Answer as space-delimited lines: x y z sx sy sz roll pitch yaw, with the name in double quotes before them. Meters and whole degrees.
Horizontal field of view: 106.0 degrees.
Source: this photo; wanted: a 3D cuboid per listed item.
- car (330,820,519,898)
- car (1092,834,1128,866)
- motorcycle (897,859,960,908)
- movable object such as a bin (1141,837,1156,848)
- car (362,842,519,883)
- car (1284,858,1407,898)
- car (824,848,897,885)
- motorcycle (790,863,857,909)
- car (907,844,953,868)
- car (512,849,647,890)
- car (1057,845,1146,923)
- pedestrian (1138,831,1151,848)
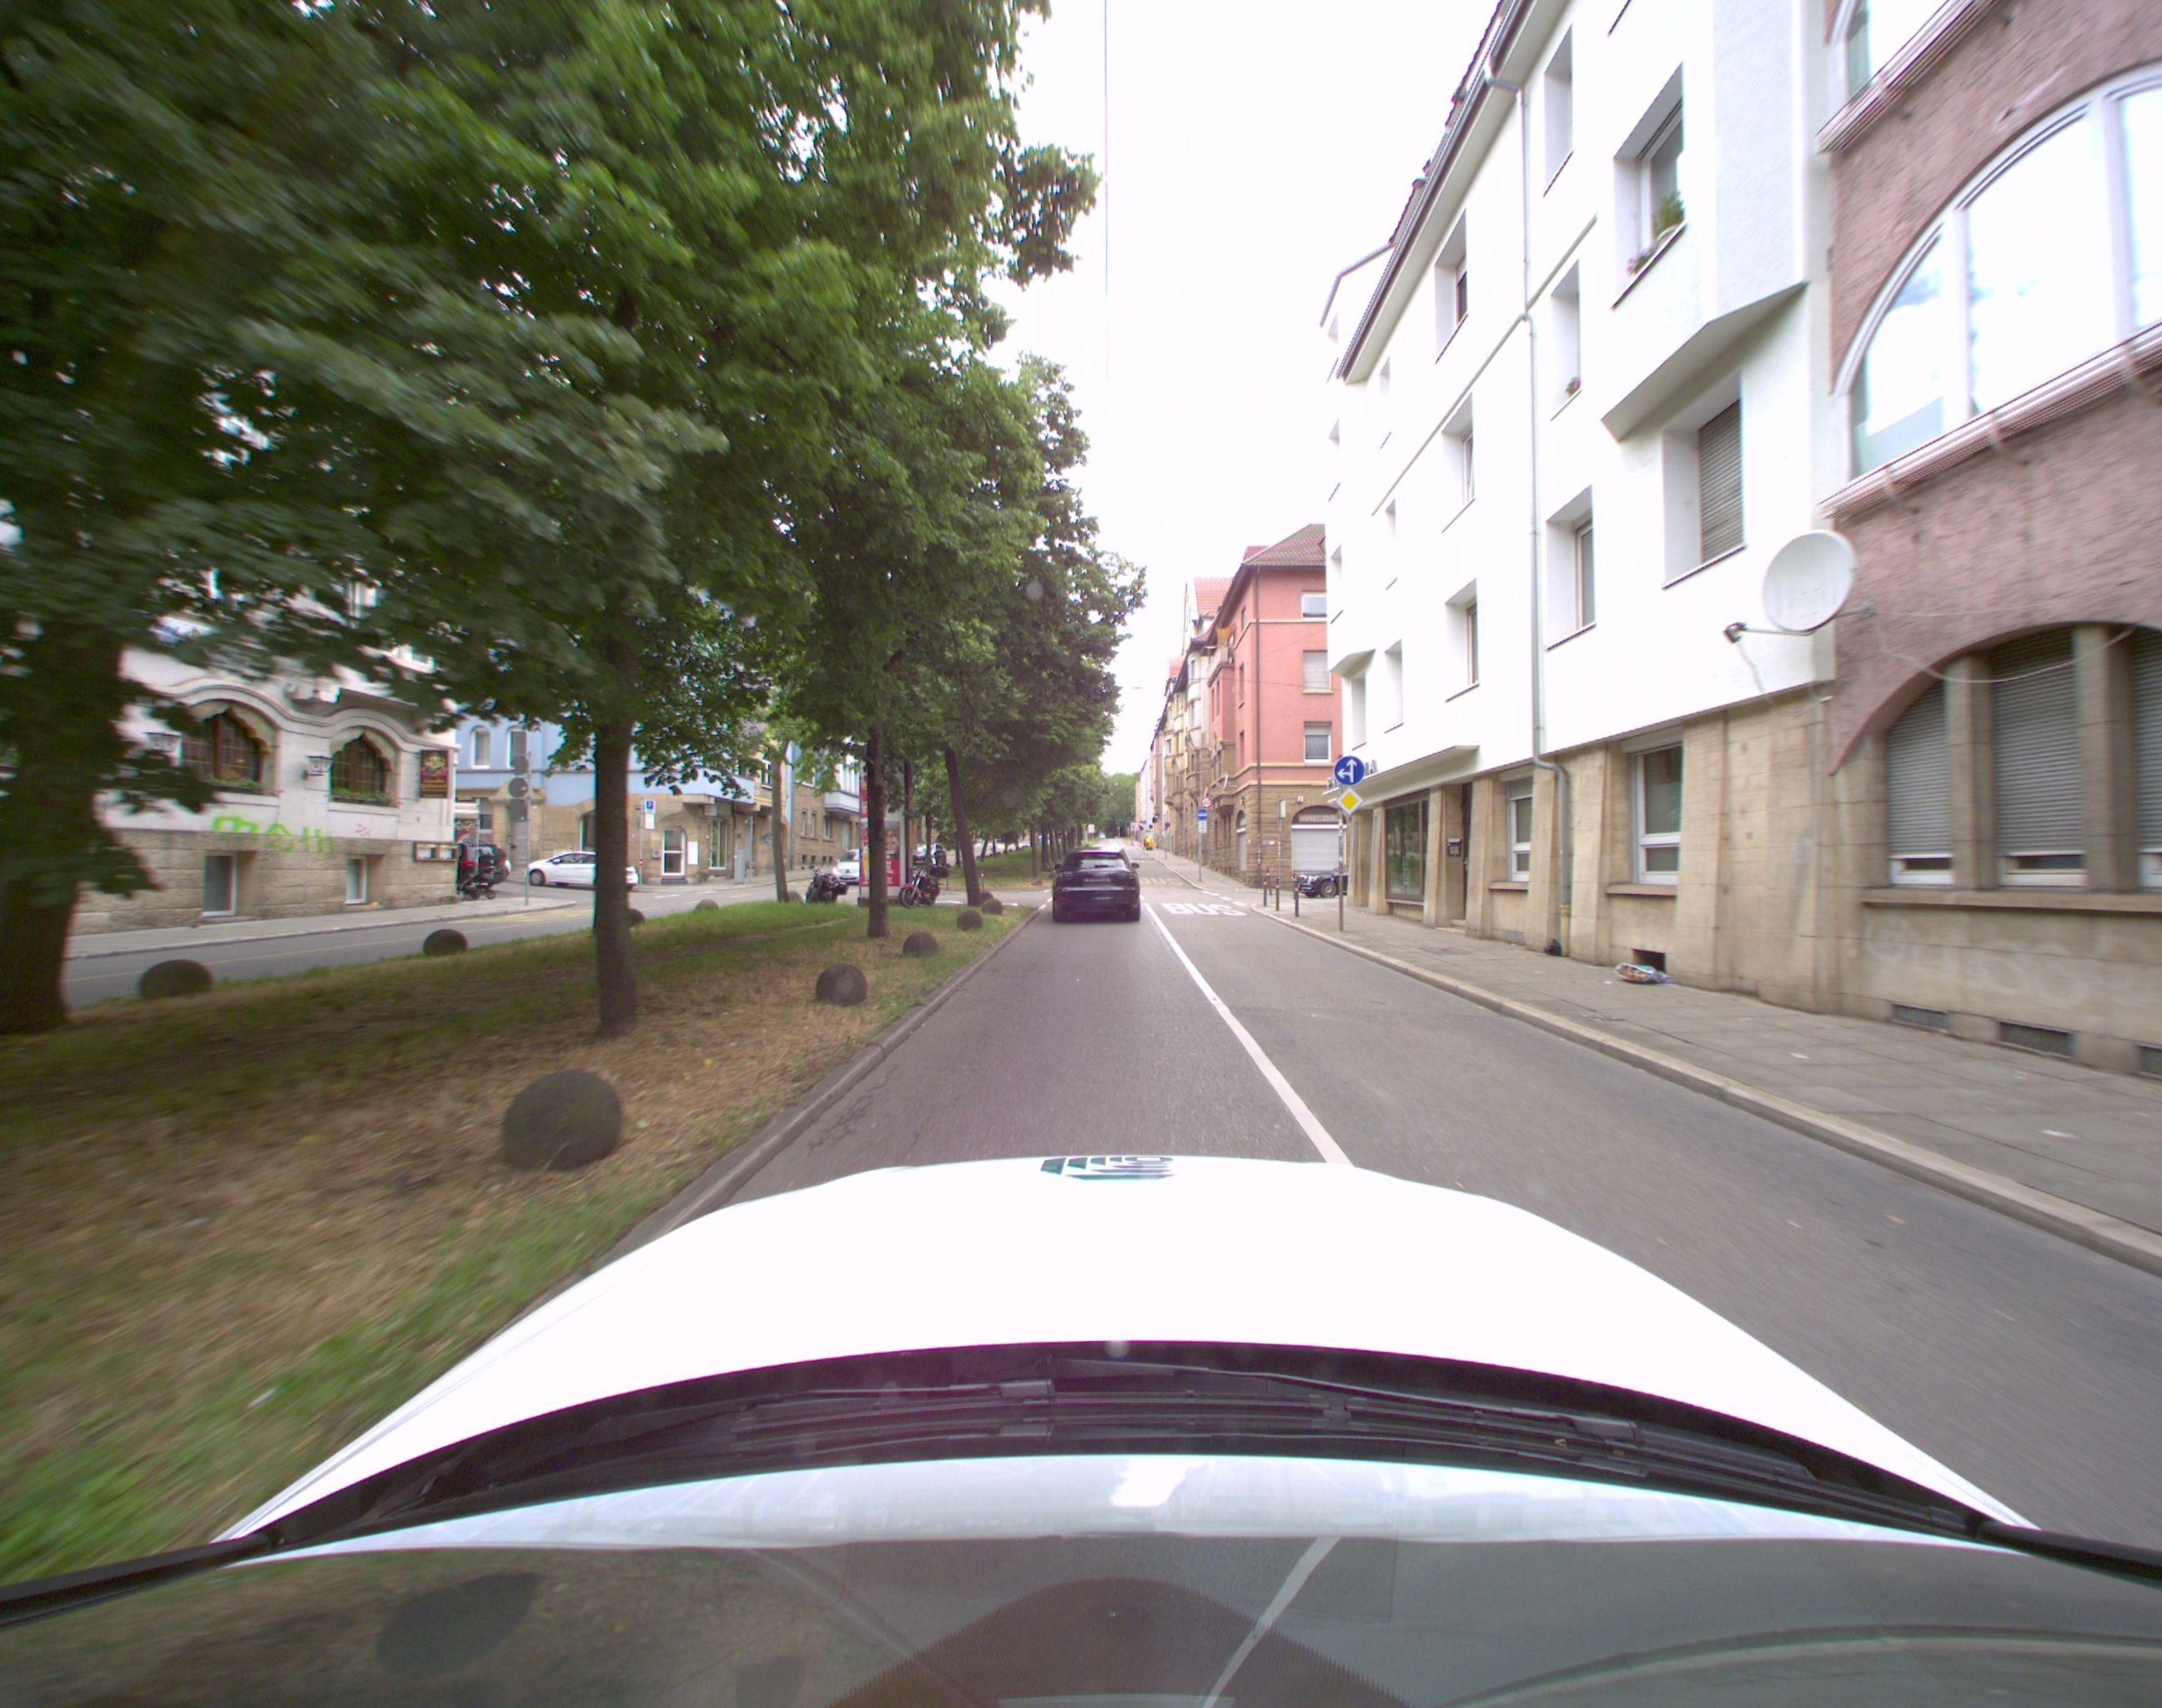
"car" -21.902 0.132 27.285 4.776 2.052 2.004 5 1 6
"car" 1.668 -0.228 46.689 1.986 1.753 4.002 0 0 2
"motorcycle" -3.850 0.712 20.813 1.058 1.148 2.449 -1 0 2
"movable object such as a bin" 8.049 -1.370 97.174 1.239 1.274 1.837 0 0 -15
"car" -25.231 0.323 32.167 4.775 1.577 2.004 0 0 6
"car" 9.928 0.864 30.673 3.993 1.376 1.990 -1 0 -14
"car" -10.377 0.522 38.741 1.986 1.624 4.818 0 0 2
"motorcycle" -6.514 0.800 20.741 0.897 1.107 2.252 -1 -2 2
"car" -9.706 0.106 52.647 1.986 1.483 4.534 0 1 2
"car" -19.508 0.584 31.802 3.972 1.497 2.001 0 0 1
"car" 0.447 0.635 19.513 1.897 1.666 4.135 0 0 0
"pedestrian" 7.648 -1.728 98.570 1.303 2.013 1.015 0 0 -14
